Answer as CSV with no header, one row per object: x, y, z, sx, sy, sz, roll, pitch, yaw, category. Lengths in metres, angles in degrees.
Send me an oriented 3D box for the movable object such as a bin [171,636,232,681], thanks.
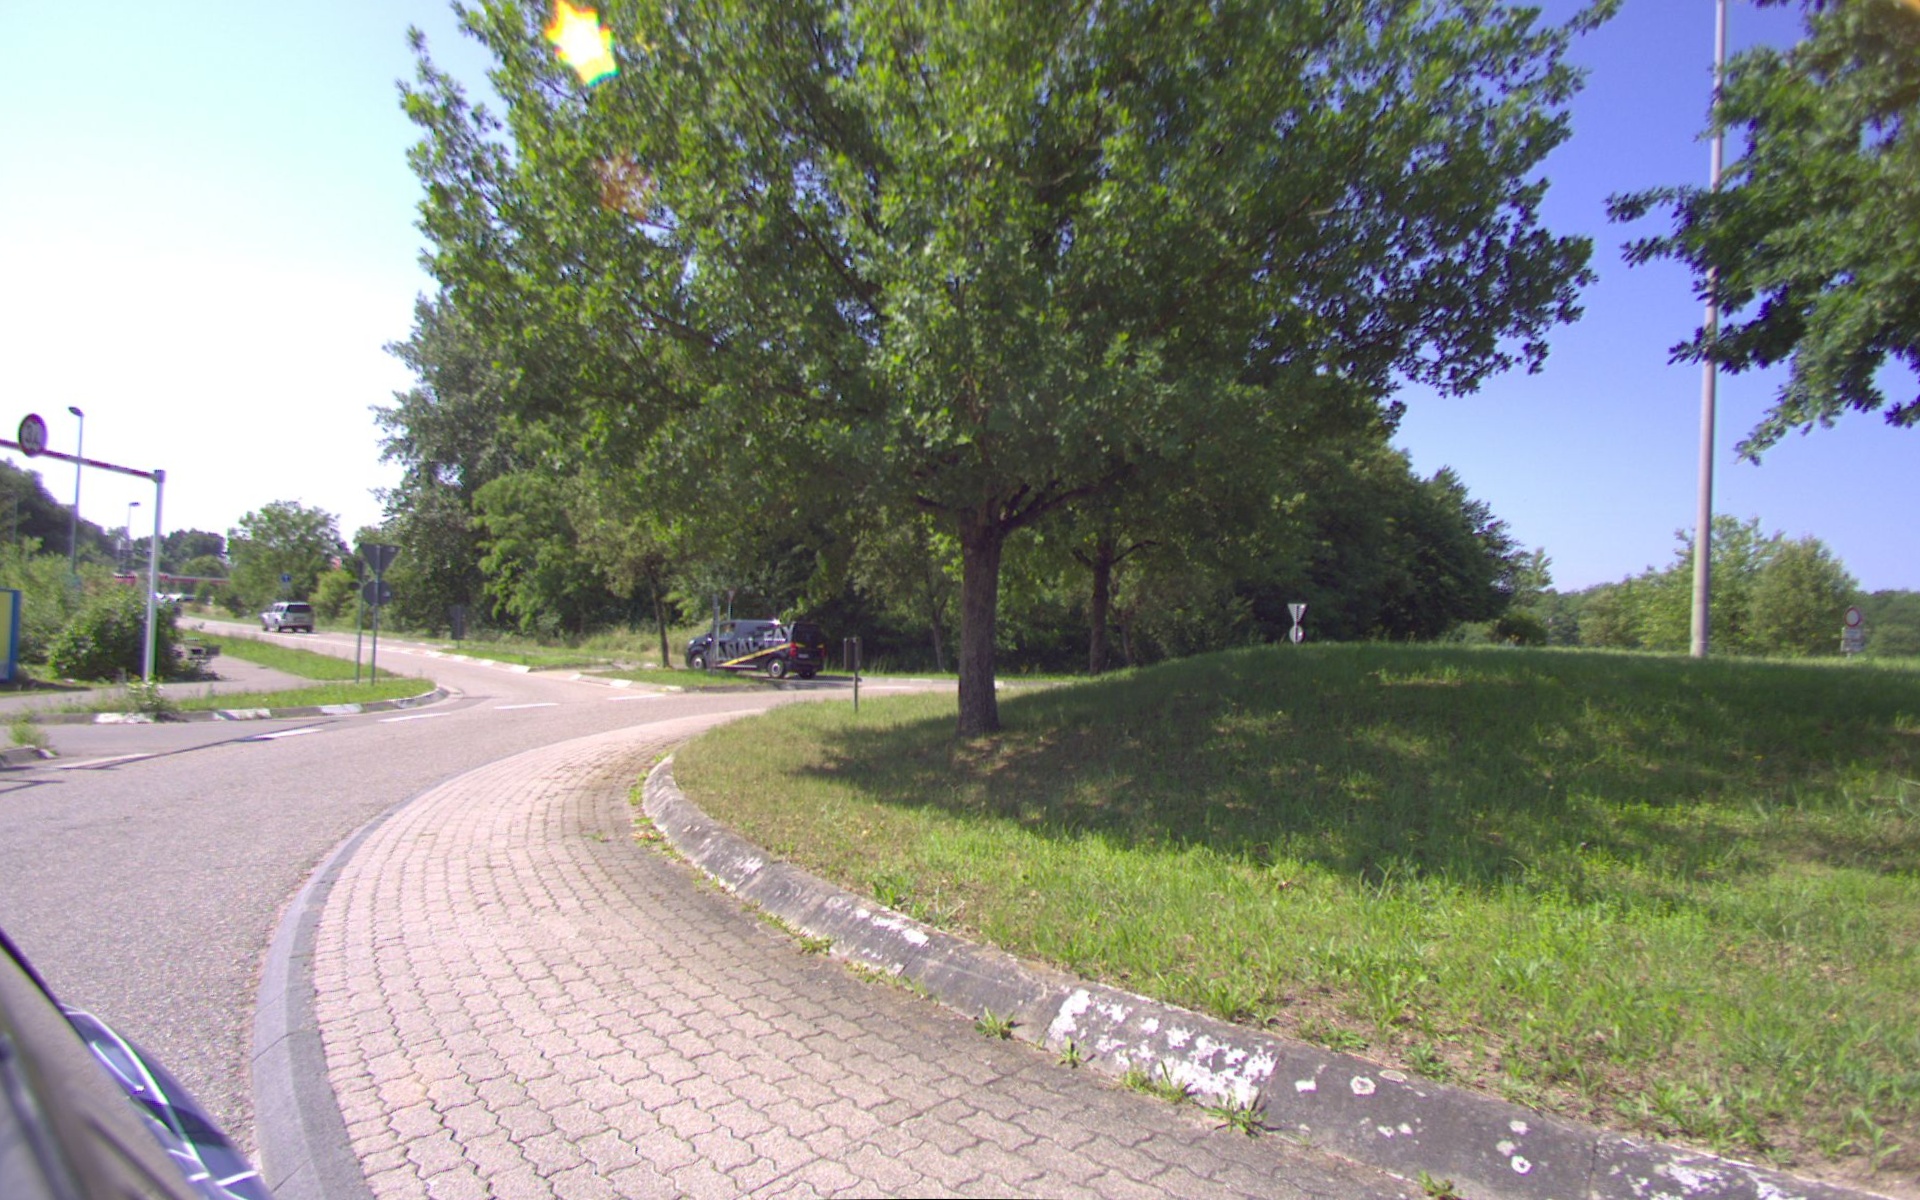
-20.354,1.566,27.194,0.856,1.129,1.460,2,-2,-19,movable object such as a bin

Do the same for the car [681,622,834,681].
-6.685,1.657,33.370,4.696,1.727,2.082,0,-2,28,car

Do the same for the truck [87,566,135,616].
-71.870,-0.704,85.614,2.680,3.945,5.958,4,-3,-42,truck

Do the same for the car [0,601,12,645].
-37.989,0.800,37.484,1.753,1.640,4.072,-1,-3,44,car

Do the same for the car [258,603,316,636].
-40.629,1.151,61.076,4.597,1.829,1.872,0,-3,44,car
